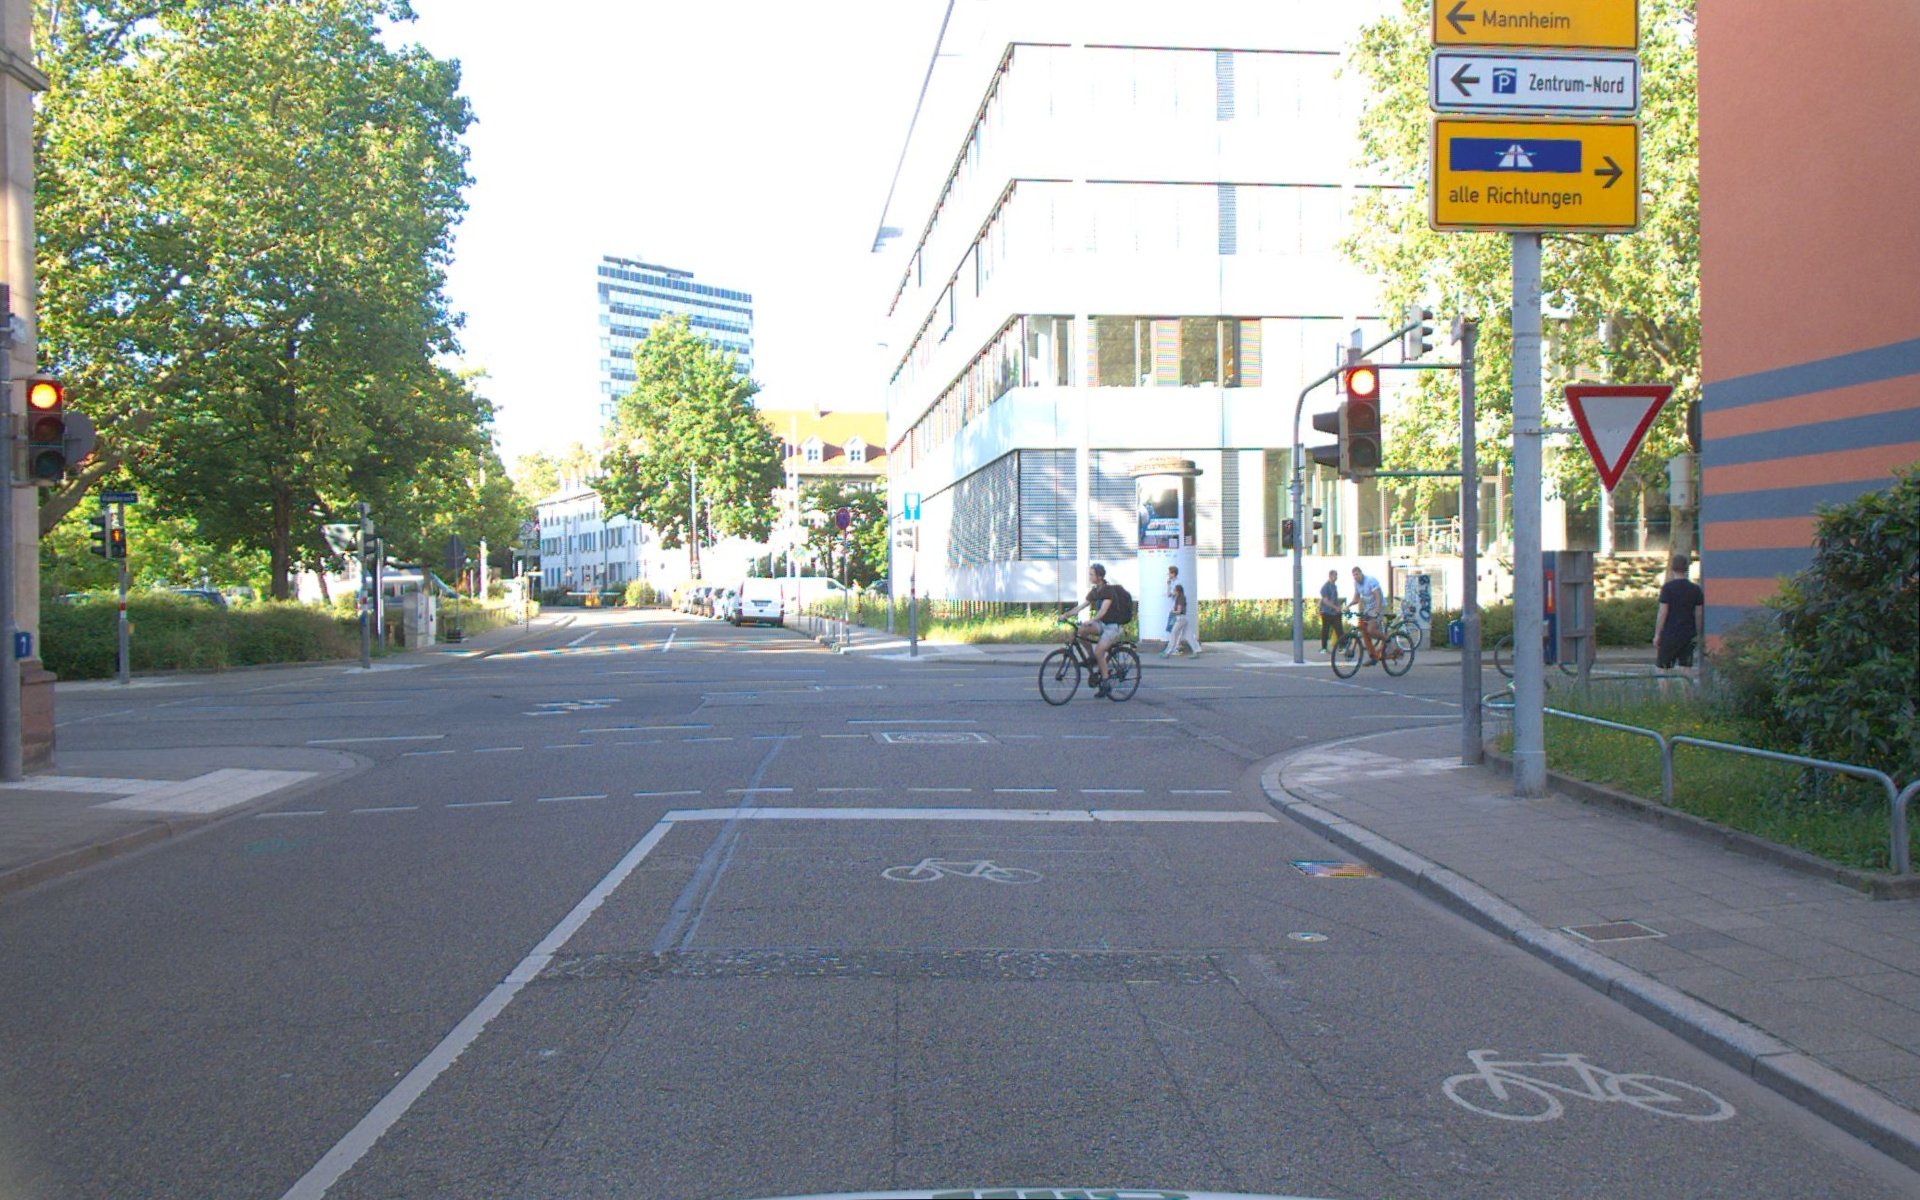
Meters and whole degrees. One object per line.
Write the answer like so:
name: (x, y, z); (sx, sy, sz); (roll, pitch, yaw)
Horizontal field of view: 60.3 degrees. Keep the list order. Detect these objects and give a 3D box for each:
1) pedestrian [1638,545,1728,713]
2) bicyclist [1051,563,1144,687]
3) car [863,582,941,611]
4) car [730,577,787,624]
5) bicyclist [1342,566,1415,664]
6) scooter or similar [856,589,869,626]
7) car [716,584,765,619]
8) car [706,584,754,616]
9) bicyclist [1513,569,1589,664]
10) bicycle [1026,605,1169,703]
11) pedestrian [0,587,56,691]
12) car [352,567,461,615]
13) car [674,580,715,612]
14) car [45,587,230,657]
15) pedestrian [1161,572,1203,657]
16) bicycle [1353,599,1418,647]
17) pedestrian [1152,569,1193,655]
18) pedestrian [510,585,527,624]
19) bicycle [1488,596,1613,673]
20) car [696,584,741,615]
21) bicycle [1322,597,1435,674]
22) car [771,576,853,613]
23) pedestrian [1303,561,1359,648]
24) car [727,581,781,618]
pedestrian: (8.180, 0.321, 18.719); (0.713, 1.842, 0.691); (1, -1, -42)
bicyclist: (1.774, 0.313, 21.334); (1.067, 1.554, 0.584); (-1, 0, -37)
car: (-3.677, -0.226, 104.723); (4.563, 1.755, 1.991); (1, 0, -17)
car: (-7.919, 0.020, 64.703); (1.957, 1.755, 4.641); (1, 0, -10)
bicyclist: (6.755, 0.232, 26.696); (0.907, 1.549, 0.696); (-1, 0, -32)
scooter or similar: (-3.430, 0.270, 58.236); (0.429, 1.278, 1.418); (-1, 0, -5)
car: (-10.197, 0.065, 76.653); (1.958, 1.525, 4.639); (1, 0, -11)
car: (-11.310, -0.002, 81.084); (1.959, 1.525, 4.272); (1, 0, -13)
bicyclist: (9.352, 0.255, 26.176); (0.952, 1.471, 0.627); (-1, 0, -5)
bicycle: (1.786, 0.673, 21.328); (1.949, 1.172, 0.584); (-1, 0, -37)
pedestrian: (-17.442, 0.725, 30.857); (0.907, 1.901, 0.733); (1, -1, -37)
car: (-24.965, -0.380, 74.682); (4.363, 2.049, 1.995); (1, 0, -10)
car: (-15.386, -0.203, 95.605); (1.960, 1.755, 4.635); (1, 0, -14)
car: (-18.369, 0.489, 37.064); (3.347, 1.483, 1.646); (1, 0, -11)
pedestrian: (4.657, 0.299, 34.745); (0.749, 1.749, 0.648); (1, -1, 18)
bicycle: (9.321, 0.507, 36.283); (0.376, 1.026, 1.410); (-1, 0, -42)
pedestrian: (4.579, 0.248, 35.624); (0.749, 1.826, 0.648); (1, -1, 18)
pedestrian: (-18.537, 0.196, 69.440); (0.688, 1.614, 0.634); (1, -1, -16)
bicycle: (9.341, 0.540, 26.183); (1.743, 1.172, 0.627); (-1, 0, -5)
car: (-12.553, -0.043, 85.789); (1.959, 1.525, 4.637); (1, 0, -13)
bicycle: (6.764, 0.560, 26.687); (1.945, 1.172, 0.620); (-1, 0, -33)
car: (-9.202, -0.341, 102.797); (4.718, 2.196, 1.990); (1, 0, -18)
pedestrian: (8.041, 0.096, 35.865); (0.755, 1.847, 0.904); (1, -1, -39)
car: (-8.871, -0.013, 70.902); (1.958, 1.525, 4.639); (1, 0, -11)
